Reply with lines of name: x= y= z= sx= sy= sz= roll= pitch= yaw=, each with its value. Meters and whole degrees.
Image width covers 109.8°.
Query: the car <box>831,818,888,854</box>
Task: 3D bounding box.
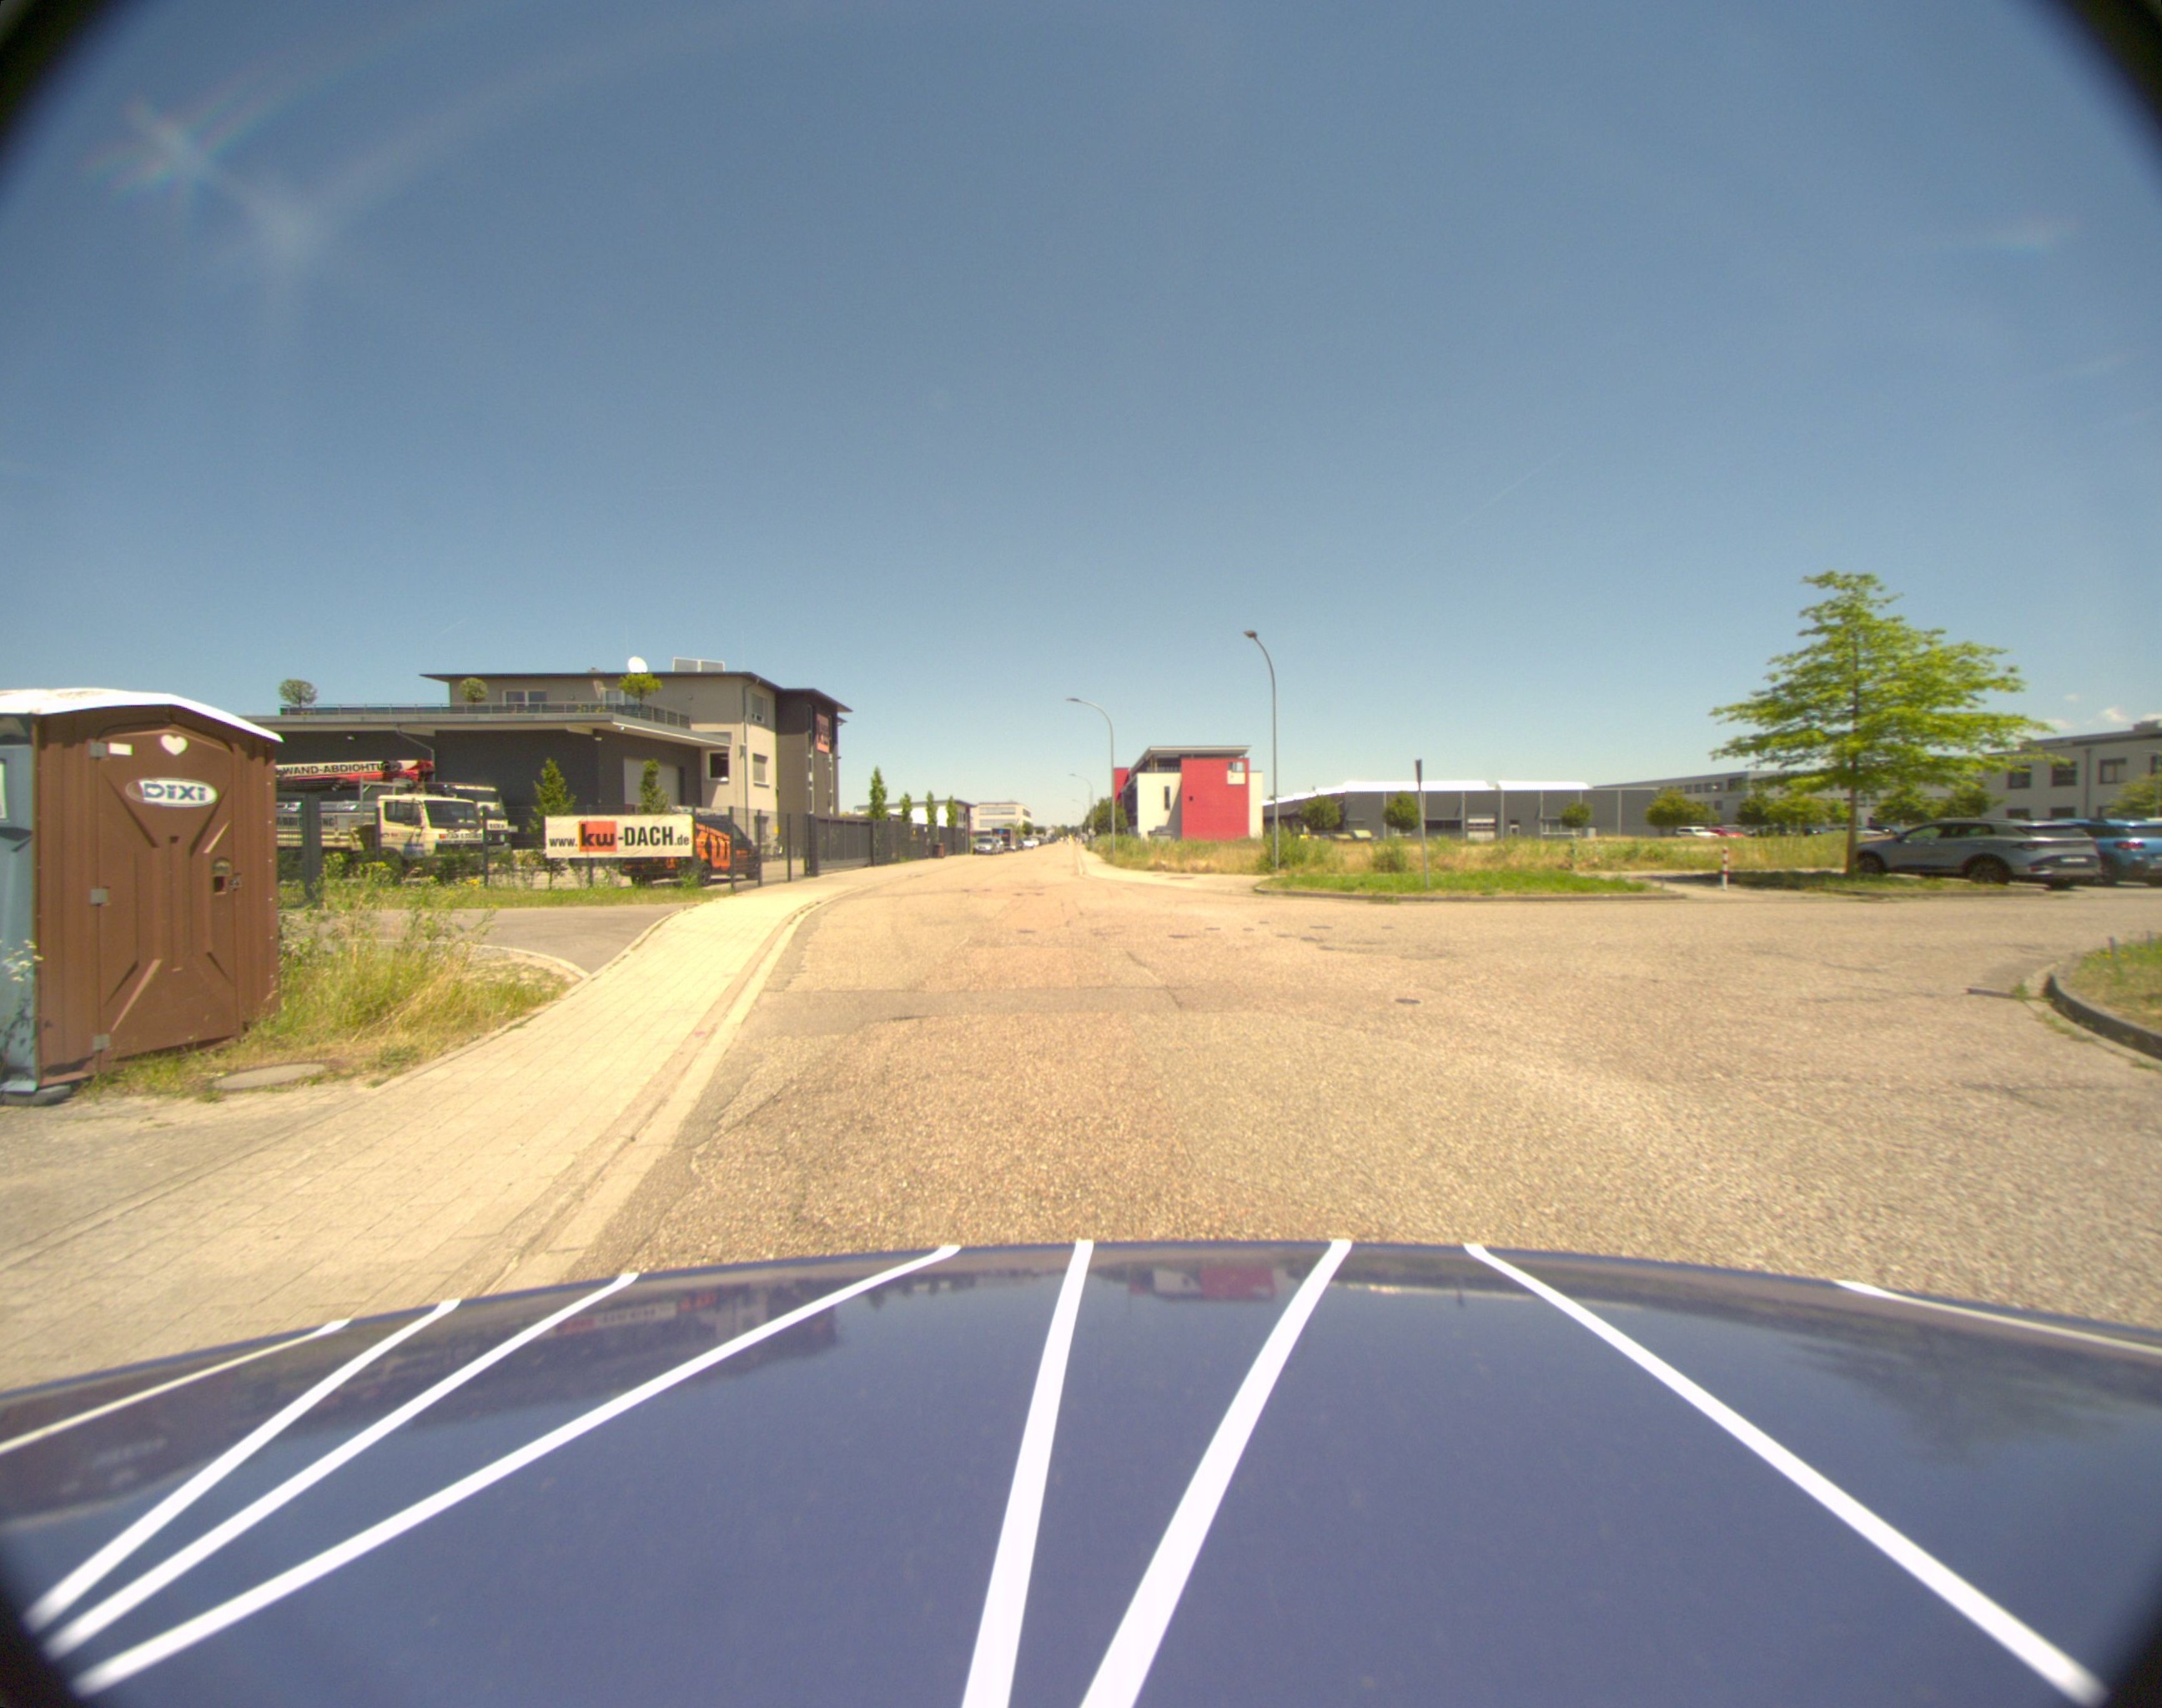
car: x=-11.703 y=-0.986 z=40.461 sx=1.929 sy=1.785 sz=3.997 roll=0 pitch=2 yaw=-2

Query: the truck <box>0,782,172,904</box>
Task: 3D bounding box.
truck: x=-29.145 y=-0.261 z=20.075 sx=7.026 sy=3.006 sz=2.495 roll=-1 pitch=3 yaw=0

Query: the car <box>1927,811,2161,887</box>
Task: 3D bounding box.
car: x=24.878 y=-0.205 z=19.325 sx=1.957 sy=1.688 sz=4.307 roll=-2 pitch=3 yaw=1

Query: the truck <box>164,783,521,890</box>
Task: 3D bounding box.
truck: x=-24.078 y=-0.597 z=25.112 sx=8.966 sy=3.159 sz=2.688 roll=-1 pitch=3 yaw=0

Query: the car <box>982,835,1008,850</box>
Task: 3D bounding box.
car: x=-7.497 y=-1.023 z=66.471 sx=1.828 sy=1.270 sz=3.884 roll=0 pitch=2 yaw=0

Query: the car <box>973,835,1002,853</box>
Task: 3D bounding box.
car: x=-7.526 y=-0.833 z=61.637 sx=1.828 sy=1.270 sz=3.884 roll=0 pitch=2 yaw=0

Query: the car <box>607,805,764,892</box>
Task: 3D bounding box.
car: x=-10.988 y=-0.231 z=21.613 sx=1.919 sy=2.150 sz=4.777 roll=-1 pitch=3 yaw=-1

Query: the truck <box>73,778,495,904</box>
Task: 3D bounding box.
truck: x=-21.017 y=-0.373 z=20.406 sx=8.355 sy=3.006 sz=2.624 roll=-1 pitch=3 yaw=0

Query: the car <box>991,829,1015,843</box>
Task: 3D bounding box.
car: x=-7.397 y=-1.723 z=71.961 sx=1.828 sy=1.270 sz=3.884 roll=0 pitch=2 yaw=0

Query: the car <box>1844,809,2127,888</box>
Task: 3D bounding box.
car: x=22.228 y=-0.209 z=19.020 sx=1.957 sy=1.688 sz=4.307 roll=-2 pitch=3 yaw=1

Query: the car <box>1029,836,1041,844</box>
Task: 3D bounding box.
car: x=-8.186 y=-2.455 z=135.429 sx=1.828 sy=1.270 sz=3.884 roll=0 pitch=2 yaw=0

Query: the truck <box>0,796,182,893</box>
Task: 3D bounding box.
truck: x=-35.686 y=-0.279 z=25.187 sx=8.355 sy=3.006 sz=2.688 roll=-1 pitch=3 yaw=0

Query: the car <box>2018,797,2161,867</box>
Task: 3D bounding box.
car: x=27.288 y=-0.589 z=19.187 sx=1.957 sy=1.688 sz=4.307 roll=-2 pitch=3 yaw=1

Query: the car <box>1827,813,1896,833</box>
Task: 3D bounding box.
car: x=70.643 y=-2.790 z=68.824 sx=1.999 sy=1.740 sz=3.997 roll=-1 pitch=2 yaw=-3
